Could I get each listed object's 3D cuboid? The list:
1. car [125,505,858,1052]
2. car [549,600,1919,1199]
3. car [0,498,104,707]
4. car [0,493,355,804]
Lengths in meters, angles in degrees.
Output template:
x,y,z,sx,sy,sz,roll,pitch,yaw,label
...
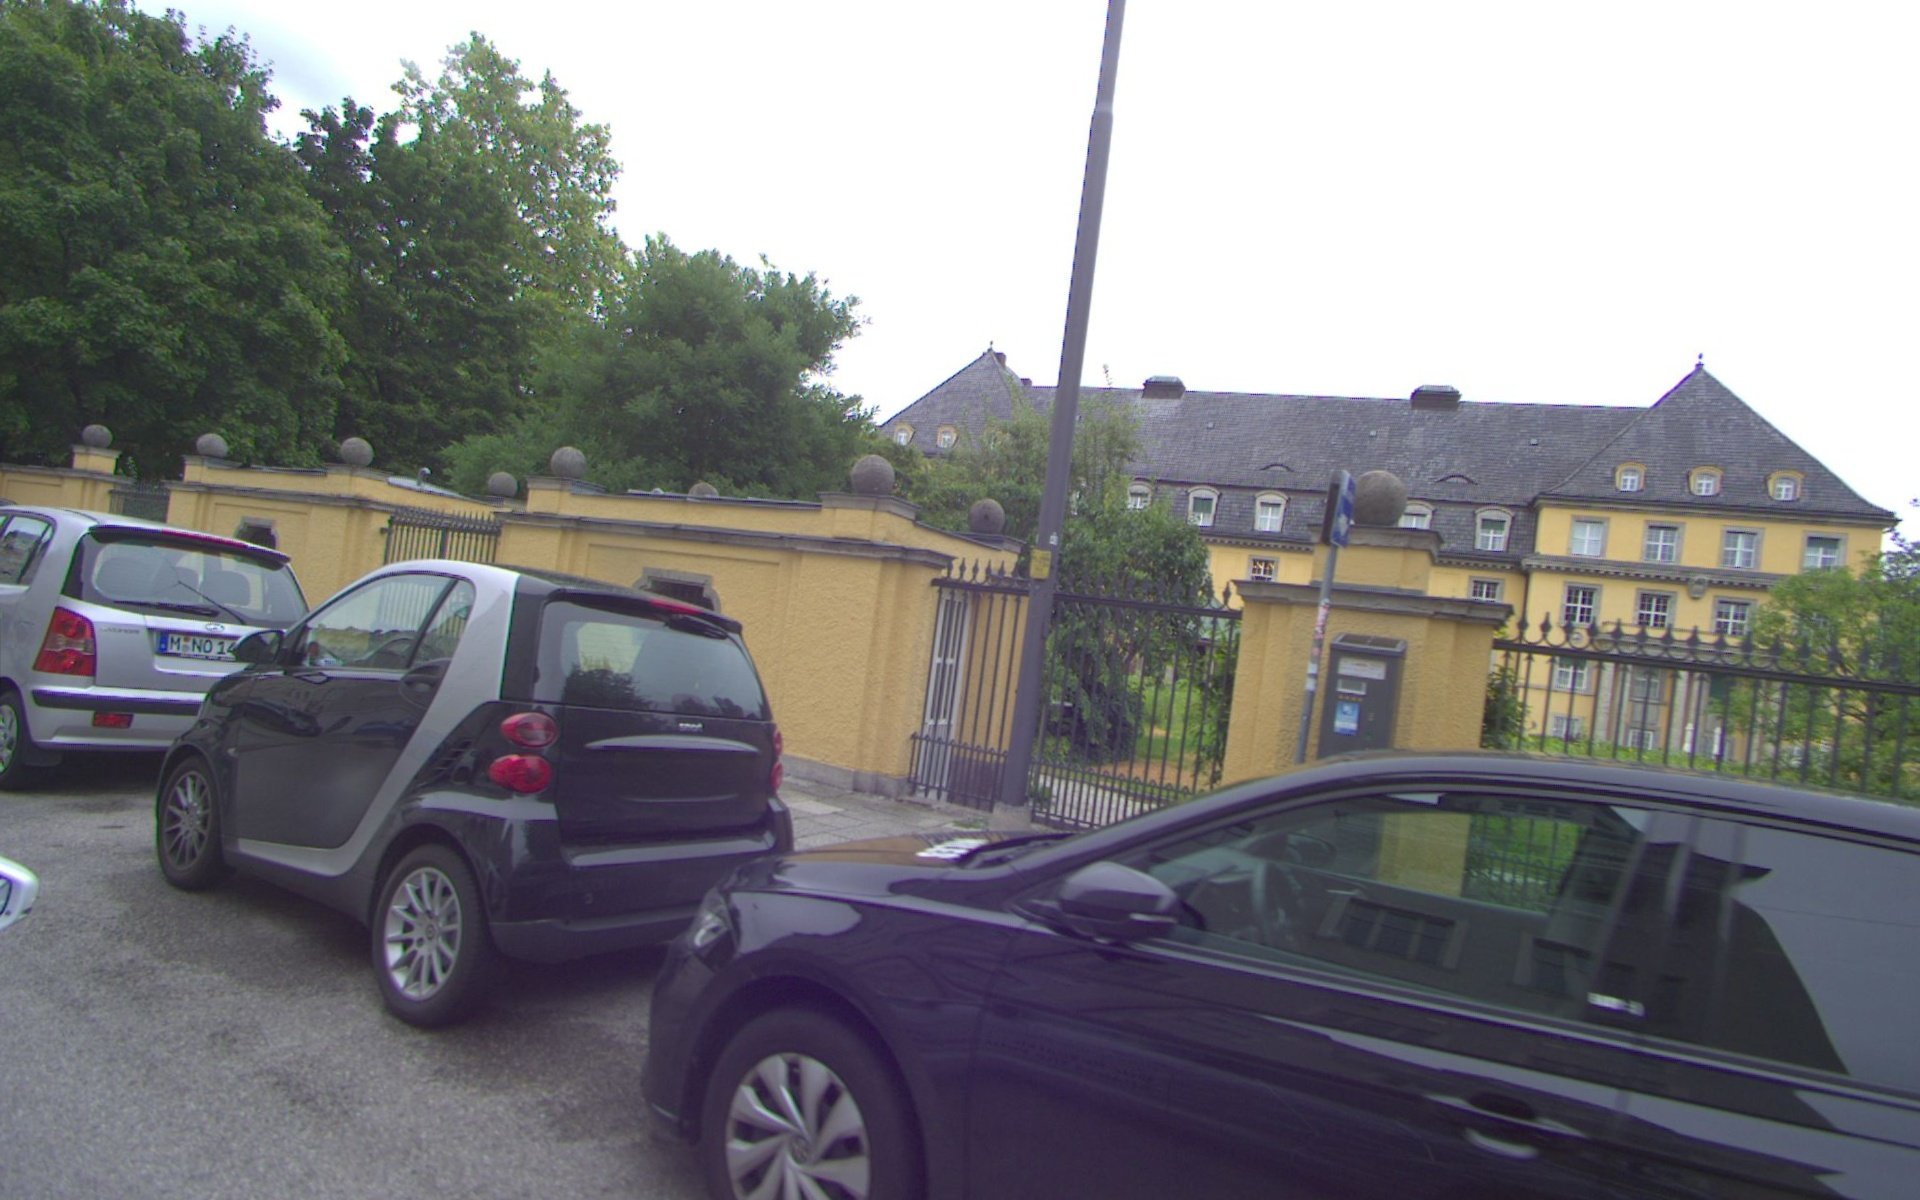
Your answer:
x,y,z,sx,sy,sz,roll,pitch,yaw,label
-2.129,0.576,4.497,2.823,1.582,1.512,6,-4,33,car
1.185,1.012,2.256,3.969,1.429,1.697,6,-4,31,car
-10.052,-0.268,9.069,4.742,1.670,1.891,6,-4,30,car
-5.920,0.184,6.665,3.629,1.555,1.490,7,-4,29,car
